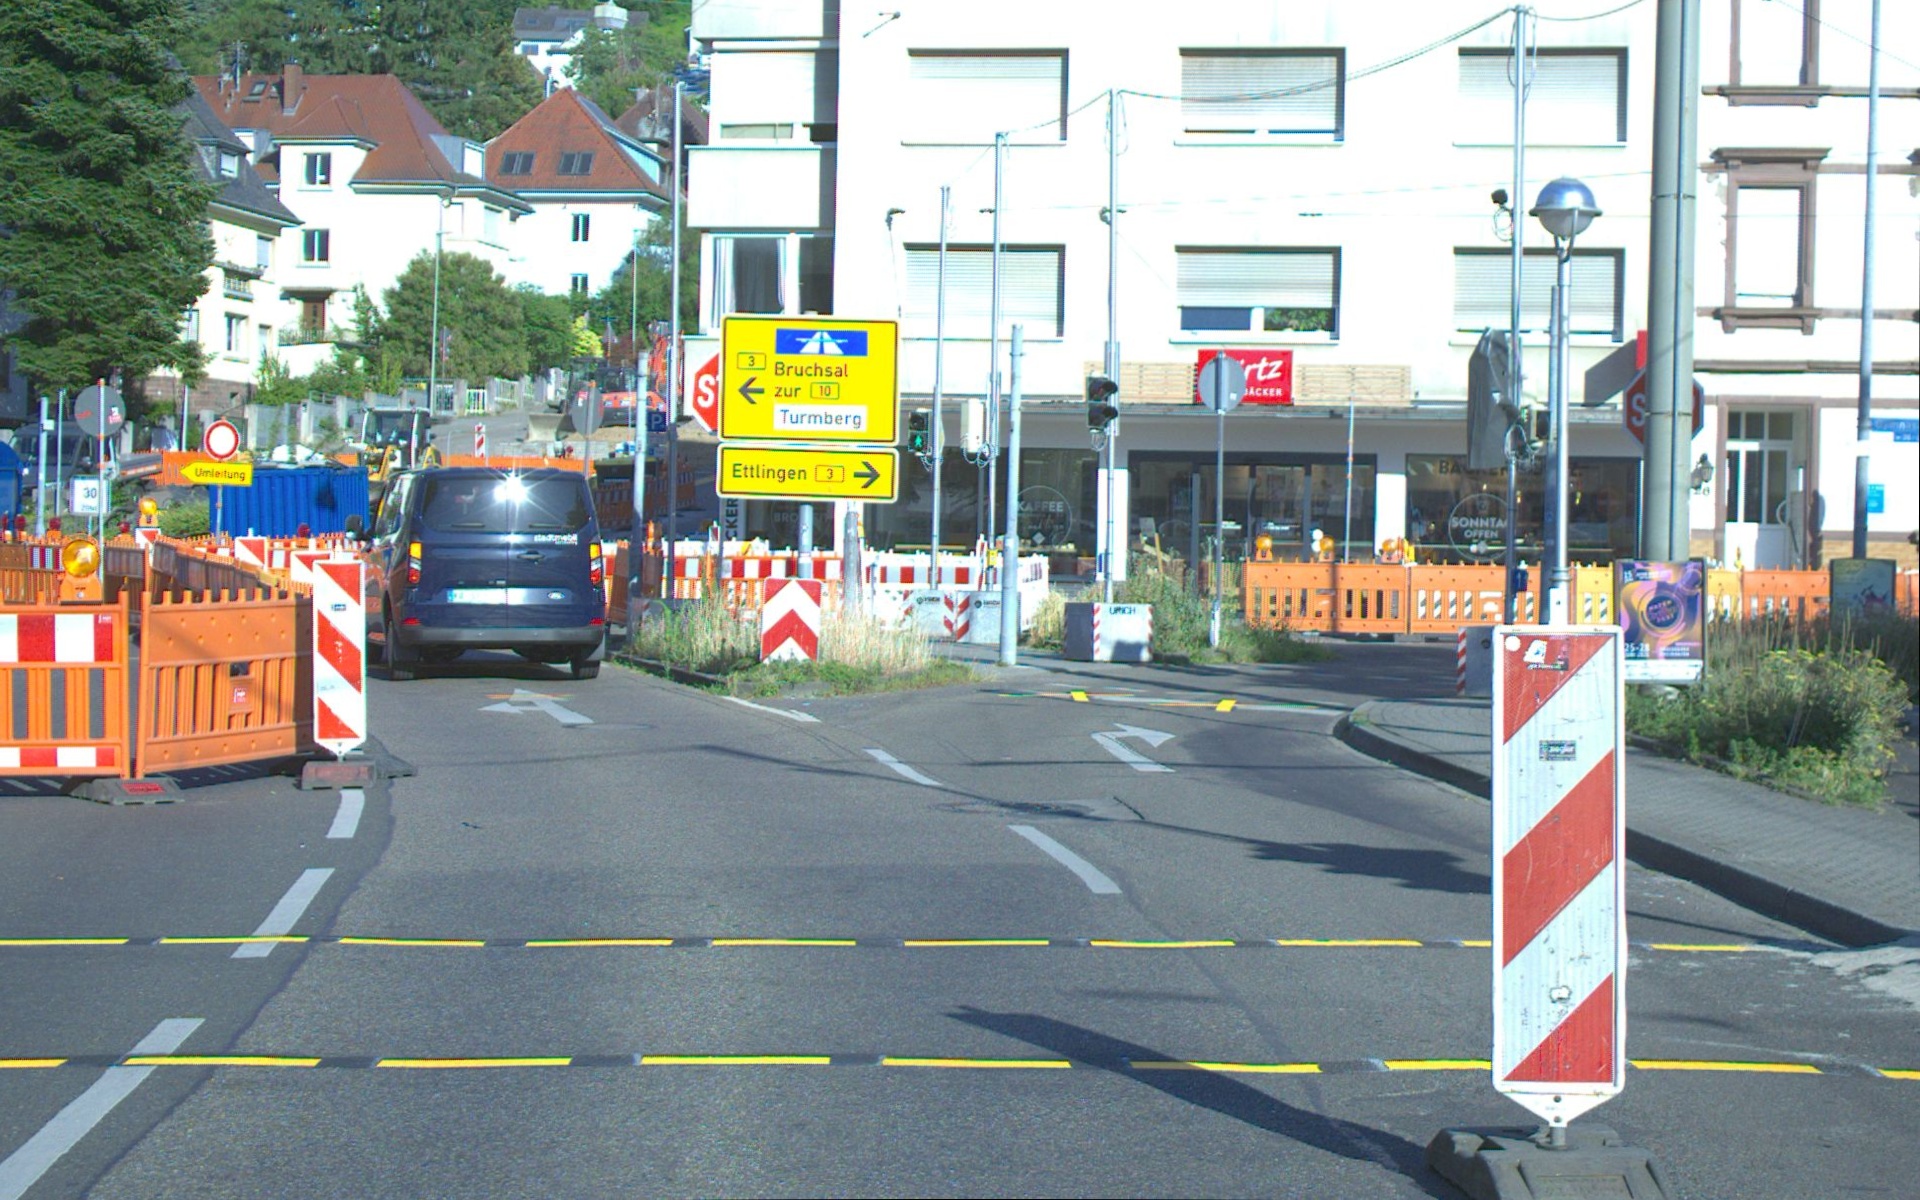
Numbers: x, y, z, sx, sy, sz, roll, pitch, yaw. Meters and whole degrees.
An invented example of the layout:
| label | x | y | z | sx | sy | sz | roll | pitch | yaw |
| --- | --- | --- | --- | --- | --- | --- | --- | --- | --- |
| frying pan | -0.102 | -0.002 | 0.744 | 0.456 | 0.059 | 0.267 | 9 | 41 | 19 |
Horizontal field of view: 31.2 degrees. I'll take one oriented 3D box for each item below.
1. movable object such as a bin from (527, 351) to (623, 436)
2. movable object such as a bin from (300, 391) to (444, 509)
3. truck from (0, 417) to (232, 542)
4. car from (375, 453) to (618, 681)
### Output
| label | x | y | z | sx | sy | sz | roll | pitch | yaw |
| --- | --- | --- | --- | --- | --- | --- | --- | --- | --- |
| movable object such as a bin | -13.051 | -6.993 | 116.810 | 2.191 | 2.681 | 3.999 | 1 | 1 | 9 |
| movable object such as a bin | -14.045 | -3.555 | 82.334 | 2.191 | 2.681 | 3.999 | 1 | 1 | 9 |
| truck | -18.092 | -2.444 | 71.733 | 2.357 | 2.407 | 9.148 | 1 | 1 | 10 |
| car | -4.597 | -0.383 | 33.503 | 2.061 | 2.006 | 5.002 | 1 | 2 | -10 |
